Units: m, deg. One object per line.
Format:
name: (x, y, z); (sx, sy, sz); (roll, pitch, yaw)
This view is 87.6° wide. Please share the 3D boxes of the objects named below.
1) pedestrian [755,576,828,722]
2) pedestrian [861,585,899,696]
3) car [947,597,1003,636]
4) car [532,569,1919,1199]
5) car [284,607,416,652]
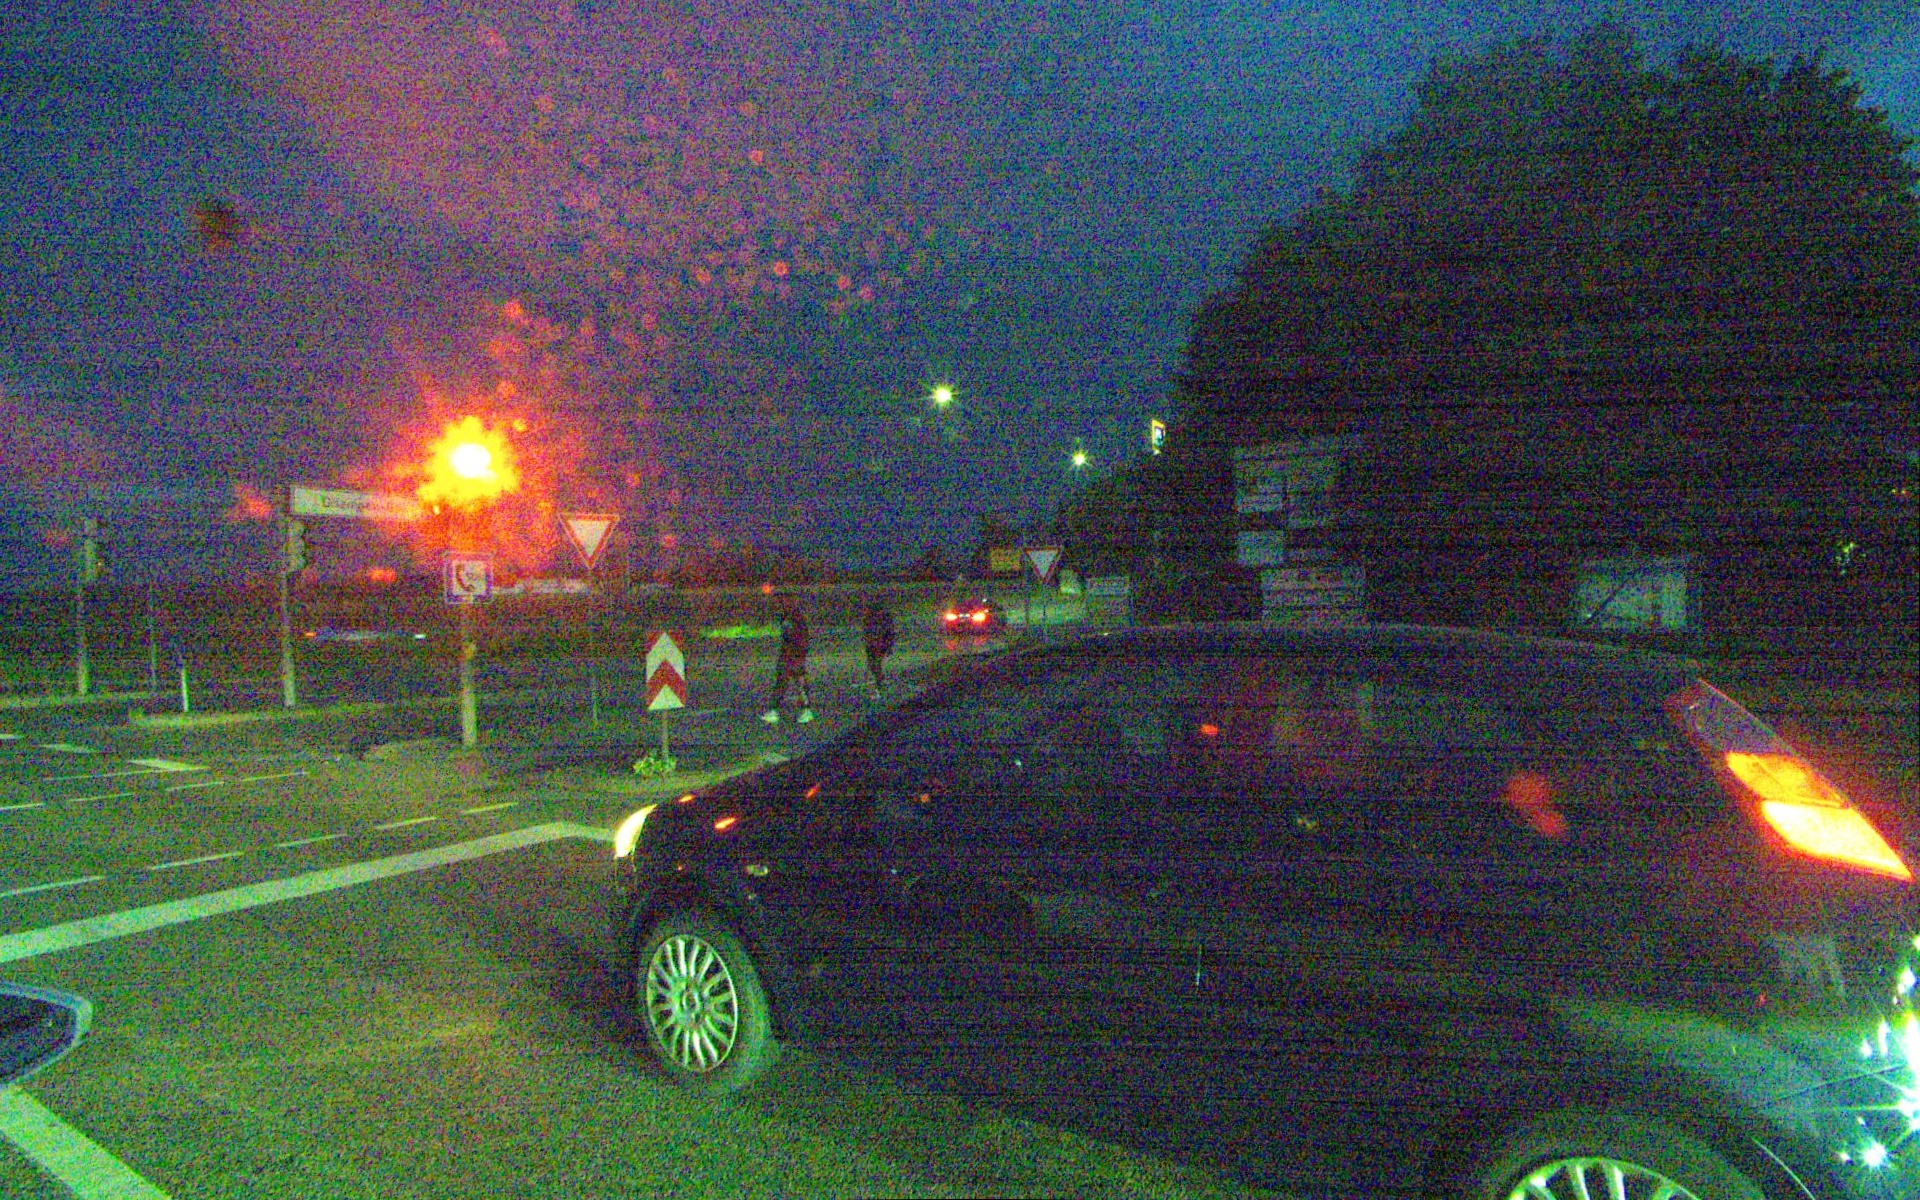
pedestrian: (-2.432, 0.703, 14.496); (0.704, 2.039, 0.776); (-1, -1, 33)
pedestrian: (-1.504, 0.760, 18.792); (0.700, 2.039, 0.781); (0, -1, -6)
car: (0.706, 0.678, 43.113); (1.775, 1.462, 3.996); (0, 2, 11)
car: (0.465, 0.750, 3.224); (3.662, 1.557, 1.655); (0, -1, 33)
car: (-25.391, 1.195, 41.864); (4.405, 1.686, 1.993); (-1, 1, -24)
